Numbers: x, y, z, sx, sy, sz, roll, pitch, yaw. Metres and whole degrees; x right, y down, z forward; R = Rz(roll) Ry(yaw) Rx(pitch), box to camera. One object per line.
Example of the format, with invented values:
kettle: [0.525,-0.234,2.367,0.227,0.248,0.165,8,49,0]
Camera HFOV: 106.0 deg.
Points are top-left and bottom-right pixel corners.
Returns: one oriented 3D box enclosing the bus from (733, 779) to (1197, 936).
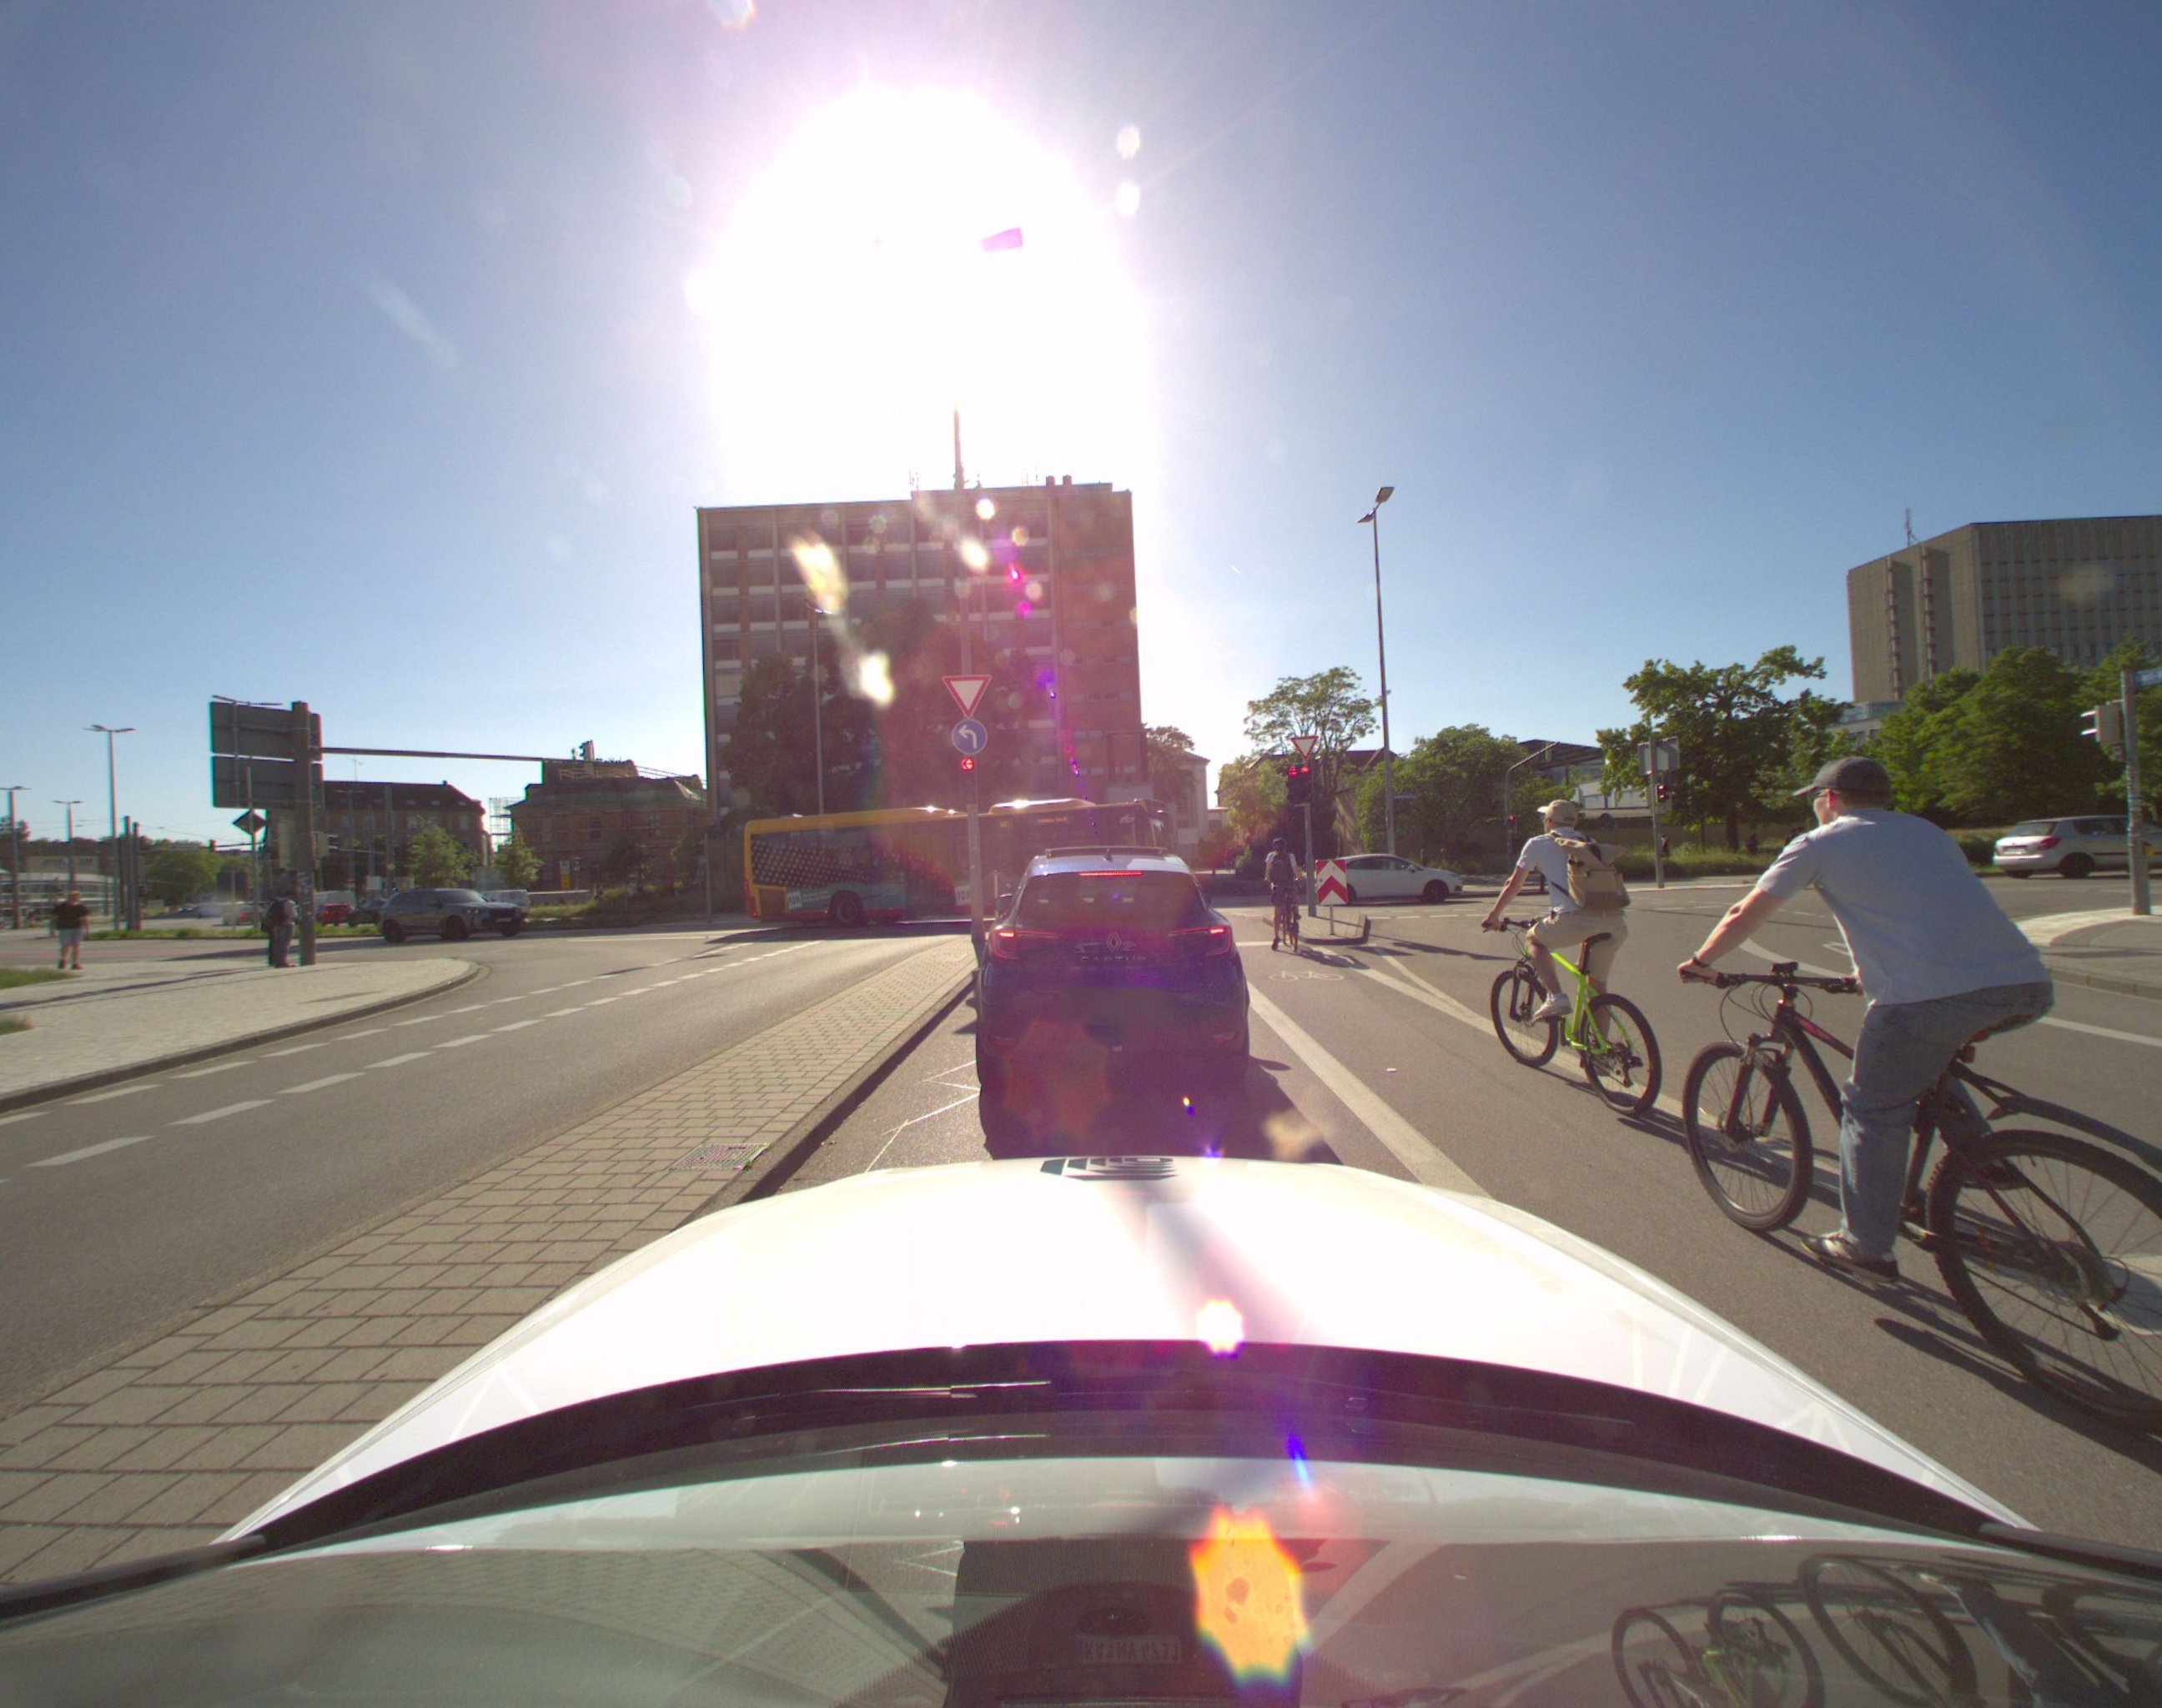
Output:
bus: [-3.269,0.239,22.642,12.327,3.570,3.264,-2,0,16]

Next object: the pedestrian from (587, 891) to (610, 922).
pedestrian: [-33.347,3.616,56.311,0.853,2.013,1.009,-3,-1,23]

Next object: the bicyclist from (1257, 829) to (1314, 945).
bicyclist: [3.272,0.518,13.109,0.674,1.785,0.939,-1,-1,0]

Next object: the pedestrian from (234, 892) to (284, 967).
pedestrian: [-19.348,1.774,19.175,0.627,1.697,0.608,-3,-1,25]

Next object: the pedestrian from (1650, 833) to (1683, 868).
pedestrian: [29.547,-0.182,41.122,0.958,1.732,0.927,-2,-1,7]

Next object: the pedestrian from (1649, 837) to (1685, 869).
pedestrian: [28.778,-0.041,39.992,1.069,1.521,0.880,-2,-1,6]

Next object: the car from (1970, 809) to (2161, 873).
car: [24.990,-0.297,20.023,3.820,1.403,1.897,-1,-3,10]

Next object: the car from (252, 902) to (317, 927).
car: [-53.571,4.088,54.766,3.771,1.518,2.012,-3,-1,27]

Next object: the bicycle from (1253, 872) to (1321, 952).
bicycle: [3.262,0.886,13.047,0.613,1.138,1.826,-2,0,0]

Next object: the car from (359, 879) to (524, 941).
car: [-21.529,1.876,27.443,4.689,1.861,2.014,-3,-1,17]

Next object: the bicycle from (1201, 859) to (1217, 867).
bicycle: [15.569,1.114,99.018,1.764,0.893,0.766,-2,-1,2]

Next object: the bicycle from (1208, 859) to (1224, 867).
bicycle: [15.713,1.060,94.648,1.764,0.898,0.766,-2,-1,2]

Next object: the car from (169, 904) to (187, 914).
car: [-176.586,10.714,159.291,2.012,1.673,3.950,-2,-1,-44]

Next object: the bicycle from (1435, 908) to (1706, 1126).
bicycle: [3.021,0.931,5.282,0.669,1.050,1.844,0,0,1]

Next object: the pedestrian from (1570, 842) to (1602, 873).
pedestrian: [25.336,0.173,40.861,1.078,1.521,0.933,-2,-1,11]

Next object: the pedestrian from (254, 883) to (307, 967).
pedestrian: [-18.147,1.598,18.468,0.673,1.855,0.608,-3,-1,25]

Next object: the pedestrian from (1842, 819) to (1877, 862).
pedestrian: [38.981,-0.661,40.794,0.891,2.079,0.814,-2,-1,5]

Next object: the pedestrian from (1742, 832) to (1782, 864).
pedestrian: [33.755,-0.294,40.379,1.140,1.521,0.944,-2,-1,7]

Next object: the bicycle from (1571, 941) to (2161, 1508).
bicycle: [2.643,0.938,2.796,0.745,1.050,1.903,-3,0,0]

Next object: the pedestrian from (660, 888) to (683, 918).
pedestrian: [-28.525,3.418,56.739,0.816,2.013,1.021,-3,-1,25]

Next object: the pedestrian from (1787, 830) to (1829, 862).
pedestrian: [35.540,-0.383,39.843,1.123,1.521,0.992,-2,-1,5]

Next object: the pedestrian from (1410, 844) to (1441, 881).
pedestrian: [18.346,0.449,43.407,1.288,1.855,0.969,-3,-1,13]

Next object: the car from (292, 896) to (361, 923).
car: [-47.781,3.534,51.560,3.771,1.518,2.012,-3,-1,27]

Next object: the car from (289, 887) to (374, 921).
car: [-62.432,4.169,67.818,6.869,2.547,3.031,-3,-1,29]

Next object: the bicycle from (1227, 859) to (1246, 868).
bicycle: [15.821,0.950,82.836,1.770,0.823,0.763,-2,-1,-9]

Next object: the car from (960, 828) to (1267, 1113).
car: [0.226,0.684,6.735,1.788,1.655,3.853,-1,0,1]

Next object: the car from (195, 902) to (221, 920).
car: [-104.975,6.815,97.914,3.950,2.014,2.078,-1,-1,43]

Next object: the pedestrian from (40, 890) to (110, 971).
pedestrian: [-24.166,1.809,19.568,0.856,1.845,0.847,-3,-1,25]

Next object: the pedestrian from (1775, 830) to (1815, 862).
pedestrian: [35.606,-0.410,40.629,1.138,1.521,0.880,-3,-1,5]

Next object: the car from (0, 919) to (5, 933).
car: [-109.414,7.287,81.423,3.948,1.389,2.013,-4,-1,34]

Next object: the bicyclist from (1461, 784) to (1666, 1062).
bicyclist: [3.017,0.397,5.205,0.672,1.583,1.081,0,0,1]

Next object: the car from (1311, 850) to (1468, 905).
car: [8.677,0.650,23.230,3.959,1.373,1.766,-3,0,13]

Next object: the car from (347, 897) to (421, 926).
car: [-41.460,3.408,48.446,3.771,1.518,2.012,-3,-1,27]

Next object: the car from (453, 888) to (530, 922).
car: [-38.925,3.365,53.749,4.952,2.013,2.085,-3,-1,27]

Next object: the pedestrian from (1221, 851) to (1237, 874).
pedestrian: [13.465,0.750,74.162,1.152,2.013,1.165,-2,-1,2]

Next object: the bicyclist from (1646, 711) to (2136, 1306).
bicyclist: [2.628,0.441,2.774,0.737,1.674,0.865,-2,-1,0]
